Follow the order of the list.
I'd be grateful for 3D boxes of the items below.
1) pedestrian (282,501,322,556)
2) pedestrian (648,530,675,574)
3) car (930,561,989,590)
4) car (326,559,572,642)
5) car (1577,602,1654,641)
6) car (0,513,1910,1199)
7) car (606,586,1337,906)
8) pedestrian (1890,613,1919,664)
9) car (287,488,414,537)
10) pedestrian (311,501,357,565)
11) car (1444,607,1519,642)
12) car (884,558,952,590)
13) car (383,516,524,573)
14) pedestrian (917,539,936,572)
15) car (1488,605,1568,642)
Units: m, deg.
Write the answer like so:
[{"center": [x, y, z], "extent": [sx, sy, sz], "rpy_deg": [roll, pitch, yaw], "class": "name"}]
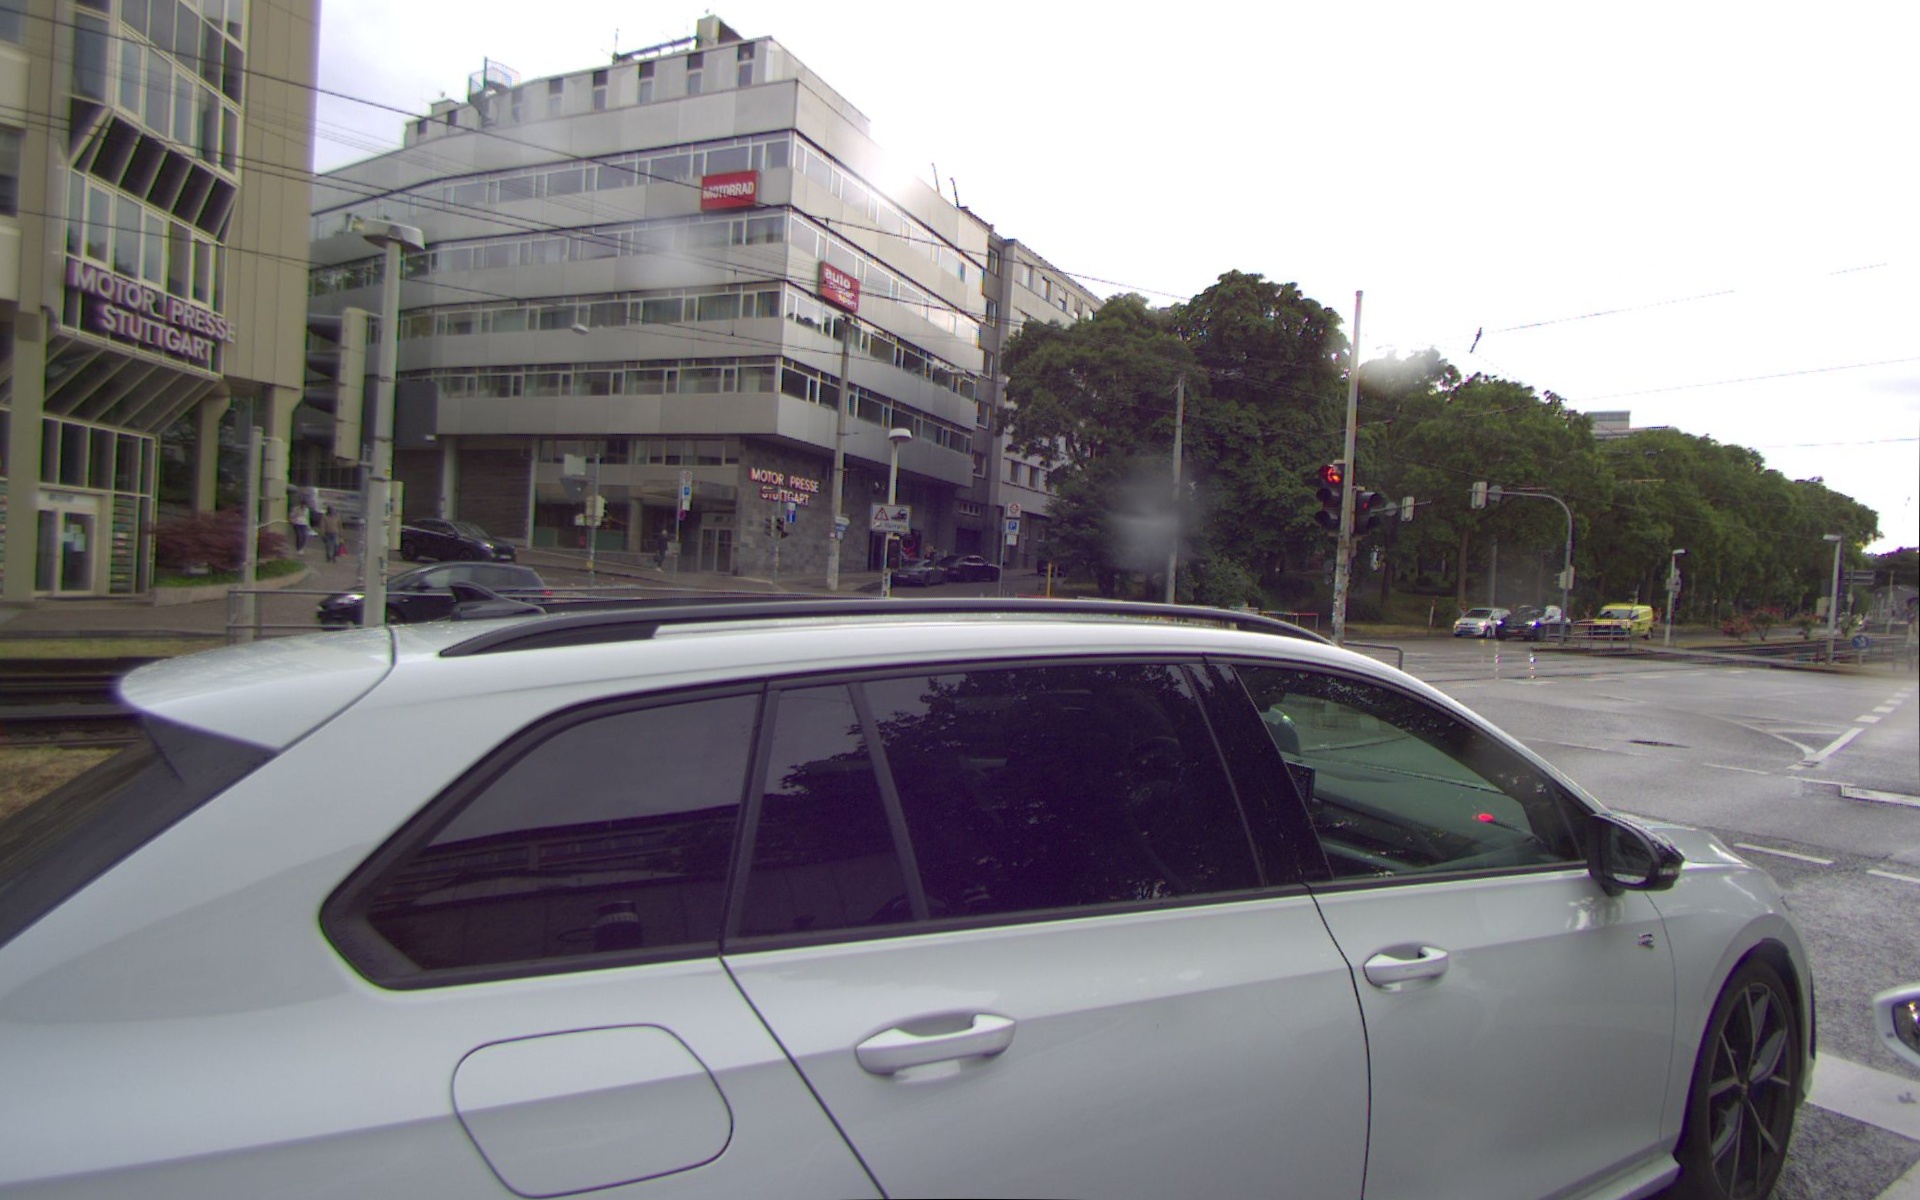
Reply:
[{"center": [-20.853, -2.263, 31.838], "extent": [0.746, 1.661, 0.719], "rpy_deg": [5, 2, 25], "class": "pedestrian"}, {"center": [-13.324, -2.124, 44.831], "extent": [0.833, 1.886, 0.719], "rpy_deg": [5, 2, 25], "class": "pedestrian"}, {"center": [0.028, -1.350, 55.584], "extent": [1.842, 1.450, 3.998], "rpy_deg": [3, 2, 22], "class": "car"}, {"center": [-9.591, 0.015, 19.009], "extent": [3.844, 1.375, 1.611], "rpy_deg": [1, 2, -43], "class": "car"}, {"center": [34.470, 1.147, 52.786], "extent": [4.525, 1.875, 1.905], "rpy_deg": [2, 1, -38], "class": "car"}, {"center": [0.303, 0.703, 2.473], "extent": [4.423, 1.461, 1.787], "rpy_deg": [2, 0, -30], "class": "car"}, {"center": [0.200, 0.720, 6.486], "extent": [4.423, 1.461, 1.787], "rpy_deg": [2, 0, -30], "class": "car"}, {"center": [35.342, 1.422, 37.419], "extent": [0.862, 1.826, 0.860], "rpy_deg": [1, 3, -44], "class": "pedestrian"}, {"center": [-32.034, -4.537, 52.991], "extent": [1.964, 2.040, 5.403], "rpy_deg": [2, 0, 30], "class": "car"}, {"center": [-18.796, -2.002, 30.164], "extent": [0.746, 1.811, 0.830], "rpy_deg": [5, 2, 25], "class": "pedestrian"}, {"center": [26.061, 1.215, 50.188], "extent": [3.648, 1.566, 1.905], "rpy_deg": [2, 1, -37], "class": "car"}, {"center": [-2.061, -1.290, 50.610], "extent": [1.842, 1.450, 4.091], "rpy_deg": [3, 2, 22], "class": "car"}, {"center": [-18.818, -2.059, 37.319], "extent": [4.794, 1.601, 1.999], "rpy_deg": [7, 3, 23], "class": "car"}, {"center": [-1.949, -2.556, 58.092], "extent": [0.707, 1.886, 0.758], "rpy_deg": [5, 4, 31], "class": "pedestrian"}, {"center": [26.356, 1.092, 46.568], "extent": [3.648, 1.566, 1.905], "rpy_deg": [2, 1, -37], "class": "car"}]
